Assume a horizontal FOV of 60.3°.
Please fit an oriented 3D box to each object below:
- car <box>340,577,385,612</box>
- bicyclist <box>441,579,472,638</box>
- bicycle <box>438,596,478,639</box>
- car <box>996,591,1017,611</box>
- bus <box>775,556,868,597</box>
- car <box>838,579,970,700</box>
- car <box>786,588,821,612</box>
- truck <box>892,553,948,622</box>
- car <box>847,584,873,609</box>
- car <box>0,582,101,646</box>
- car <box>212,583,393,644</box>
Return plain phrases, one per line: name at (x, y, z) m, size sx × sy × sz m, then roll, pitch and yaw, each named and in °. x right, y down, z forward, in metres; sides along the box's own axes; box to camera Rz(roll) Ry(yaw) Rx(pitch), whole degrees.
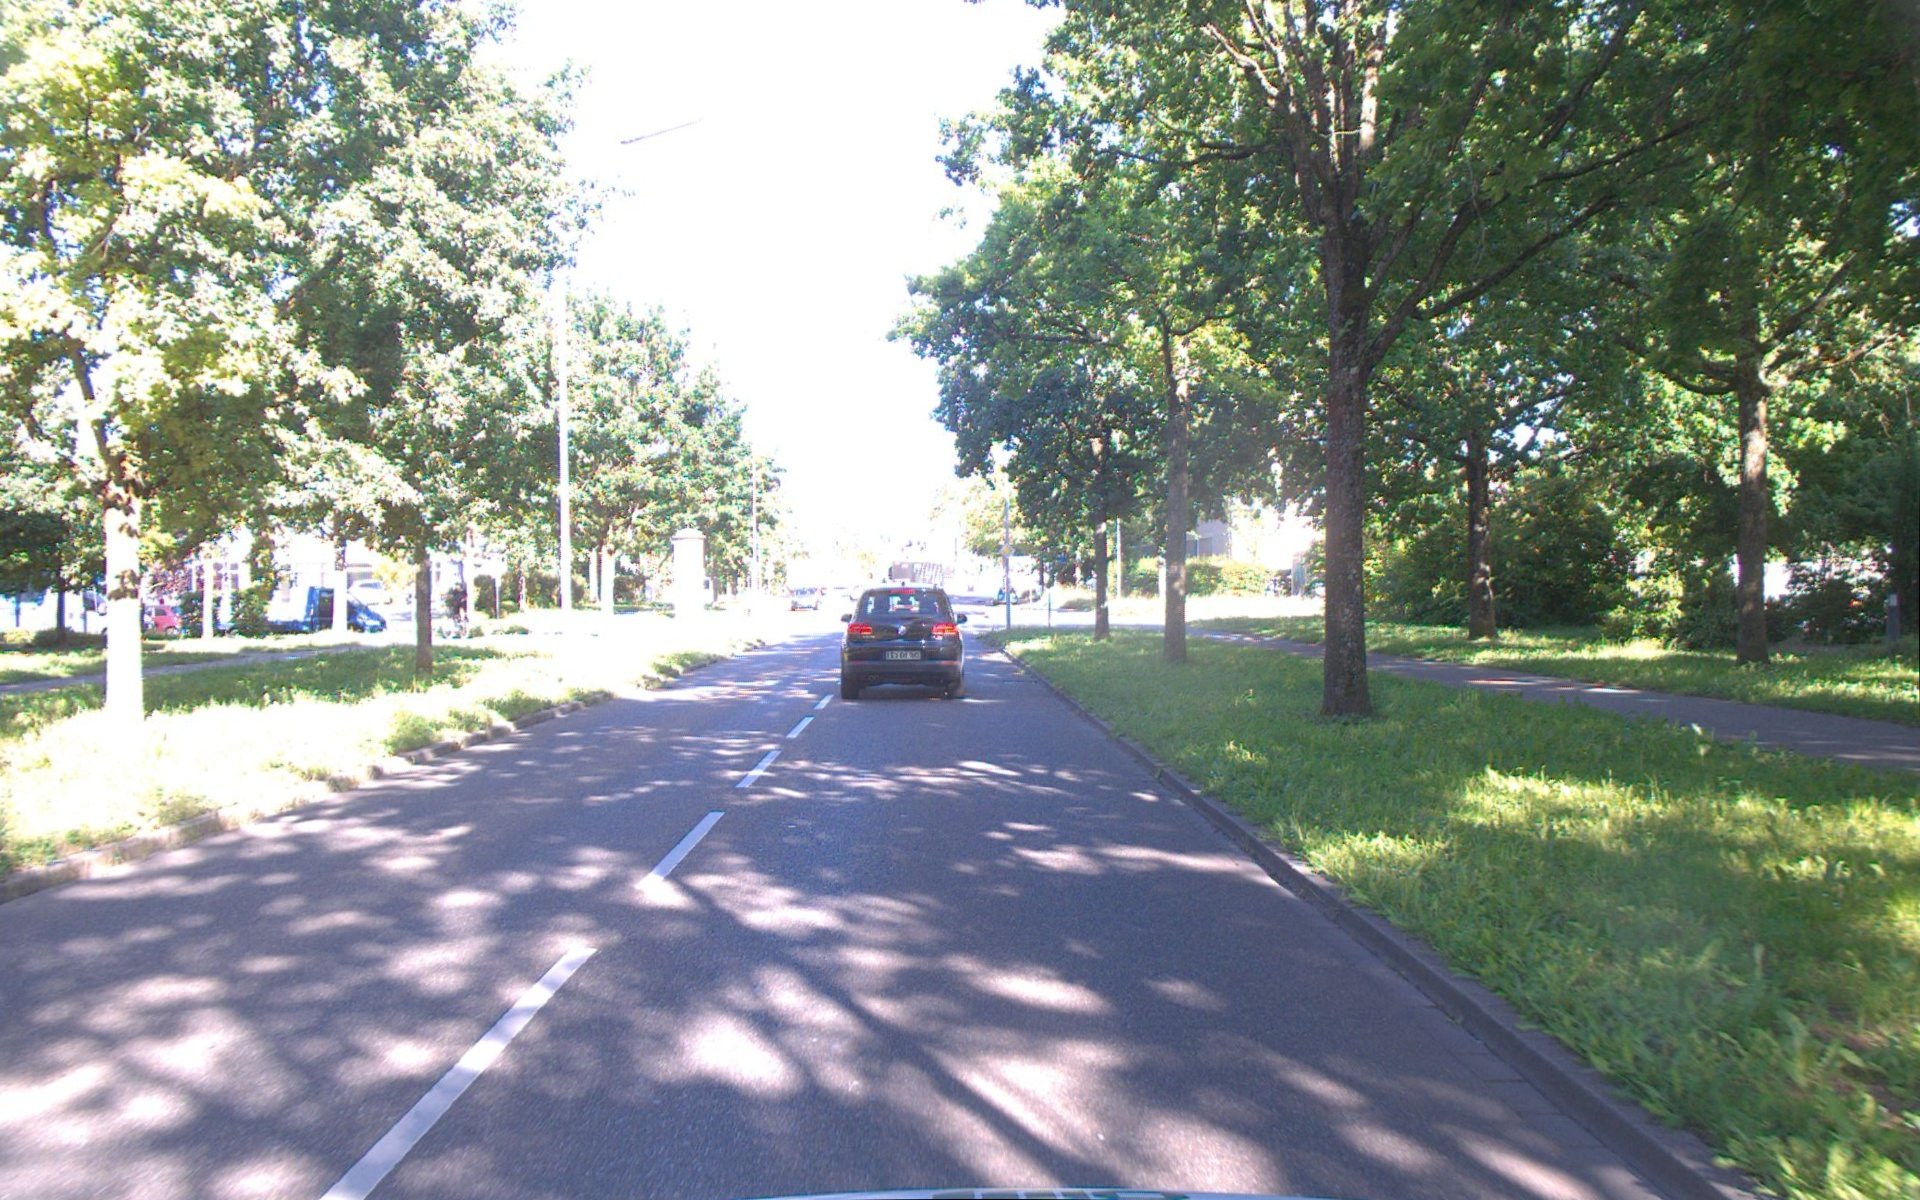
car at (-40.411, -0.366, 111.870) m, size 1.955 × 2.275 × 3.994 m, roll -1°, pitch 0°, yaw -7°
bicyclist at (-16.241, 0.272, 53.366) m, size 0.672 × 1.863 × 0.934 m, roll 1°, pitch 0°, yaw -2°
bicycle at (-16.236, 0.562, 53.524) m, size 0.702 × 1.344 × 1.991 m, roll 1°, pitch 0°, yaw -1°
car at (3.415, 0.058, 122.015) m, size 1.422 × 1.430 × 2.855 m, roll 1°, pitch 0°, yaw 0°
bus at (-13.871, -2.317, 164.921) m, size 8.938 × 3.844 × 3.379 m, roll 1°, pitch 0°, yaw -10°
car at (-0.777, 0.538, 25.248) m, size 1.745 × 1.662 × 4.001 m, roll 1°, pitch 0°, yaw 1°
car at (-10.161, 0.003, 107.640) m, size 1.953 × 1.481 × 3.999 m, roll -1°, pitch 0°, yaw -1°
truck at (-1.964, -0.645, 83.772) m, size 2.460 × 3.300 × 8.154 m, roll -1°, pitch 1°, yaw 1°
car at (-8.516, -0.283, 140.535) m, size 1.955 × 2.049 × 3.995 m, roll 1°, pitch 0°, yaw -6°
car at (-25.900, 0.370, 45.638) m, size 3.288 × 1.671 × 2.001 m, roll 1°, pitch 0°, yaw 4°
car at (-23.502, 0.478, 59.326) m, size 5.686 × 2.049 × 1.995 m, roll 1°, pitch 0°, yaw -11°
